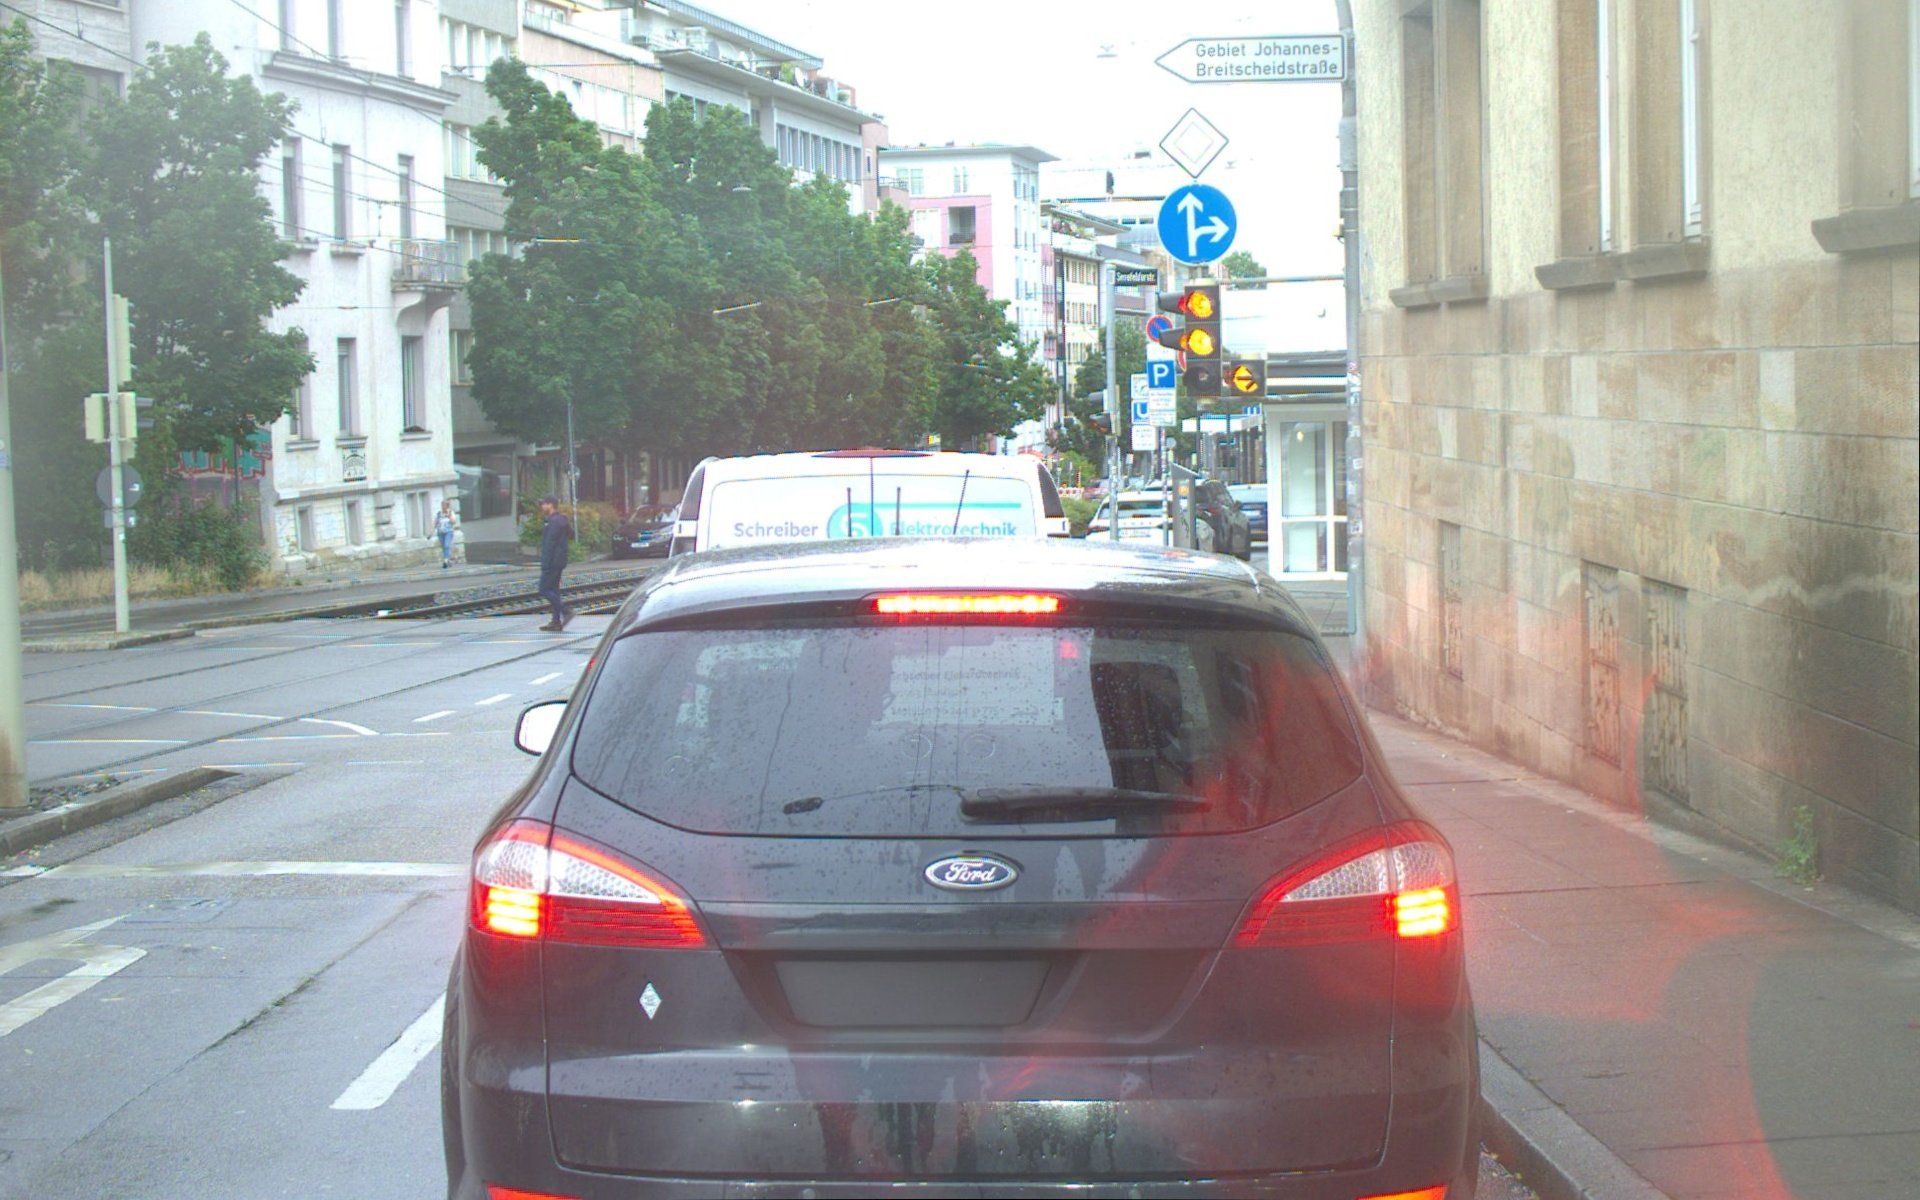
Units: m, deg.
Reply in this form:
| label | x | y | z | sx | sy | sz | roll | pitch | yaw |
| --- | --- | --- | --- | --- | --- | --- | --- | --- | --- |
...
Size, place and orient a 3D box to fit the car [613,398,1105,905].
| label | x | y | z | sx | sy | sz | roll | pitch | yaw |
| --- | --- | --- | --- | --- | --- | --- | --- | --- | --- |
| car | -0.475 | 0.178 | 16.372 | 1.988 | 2.053 | 4.645 | 1 | 1 | -2 |

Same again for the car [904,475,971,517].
| label | x | y | z | sx | sy | sz | roll | pitch | yaw |
| --- | --- | --- | --- | --- | --- | --- | --- | --- | --- |
| car | -0.892 | -4.197 | 139.801 | 1.856 | 1.631 | 4.933 | 0 | 1 | 10 |

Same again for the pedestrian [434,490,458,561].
| label | x | y | z | sx | sy | sz | roll | pitch | yaw |
| --- | --- | --- | --- | --- | --- | --- | --- | --- | --- |
| pedestrian | -12.033 | -1.734 | 80.526 | 0.467 | 1.646 | 0.582 | 1 | 1 | -2 |

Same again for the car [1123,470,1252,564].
| label | x | y | z | sx | sy | sz | roll | pitch | yaw |
| --- | --- | --- | --- | --- | --- | --- | --- | --- | --- |
| car | 4.192 | -1.498 | 62.721 | 1.846 | 1.627 | 4.585 | -1 | 1 | 10 |

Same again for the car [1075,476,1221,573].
| label | x | y | z | sx | sy | sz | roll | pitch | yaw |
| --- | --- | --- | --- | --- | --- | --- | --- | --- | --- |
| car | 3.101 | -1.215 | 55.874 | 1.802 | 1.450 | 4.585 | -2 | 1 | 10 |

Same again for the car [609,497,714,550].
| label | x | y | z | sx | sy | sz | roll | pitch | yaw |
| --- | --- | --- | --- | --- | --- | --- | --- | --- | --- |
| car | -8.103 | -2.059 | 93.733 | 1.694 | 1.373 | 4.719 | 0 | 1 | 10 |

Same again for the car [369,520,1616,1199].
| label | x | y | z | sx | sy | sz | roll | pitch | yaw |
| --- | --- | --- | --- | --- | --- | --- | --- | --- | --- |
| car | 0.019 | 0.613 | 7.110 | 1.842 | 1.502 | 4.000 | 1 | 1 | -1 |

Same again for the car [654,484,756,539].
| label | x | y | z | sx | sy | sz | roll | pitch | yaw |
| --- | --- | --- | --- | --- | --- | --- | --- | --- | --- |
| car | -7.348 | -2.538 | 99.648 | 1.856 | 1.543 | 4.719 | 0 | 1 | 10 |

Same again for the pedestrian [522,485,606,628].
| label | x | y | z | sx | sy | sz | roll | pitch | yaw |
| --- | --- | --- | --- | --- | --- | --- | --- | --- | --- |
| pedestrian | -5.161 | -0.565 | 44.891 | 0.930 | 1.823 | 0.959 | 1 | 1 | 2 |
